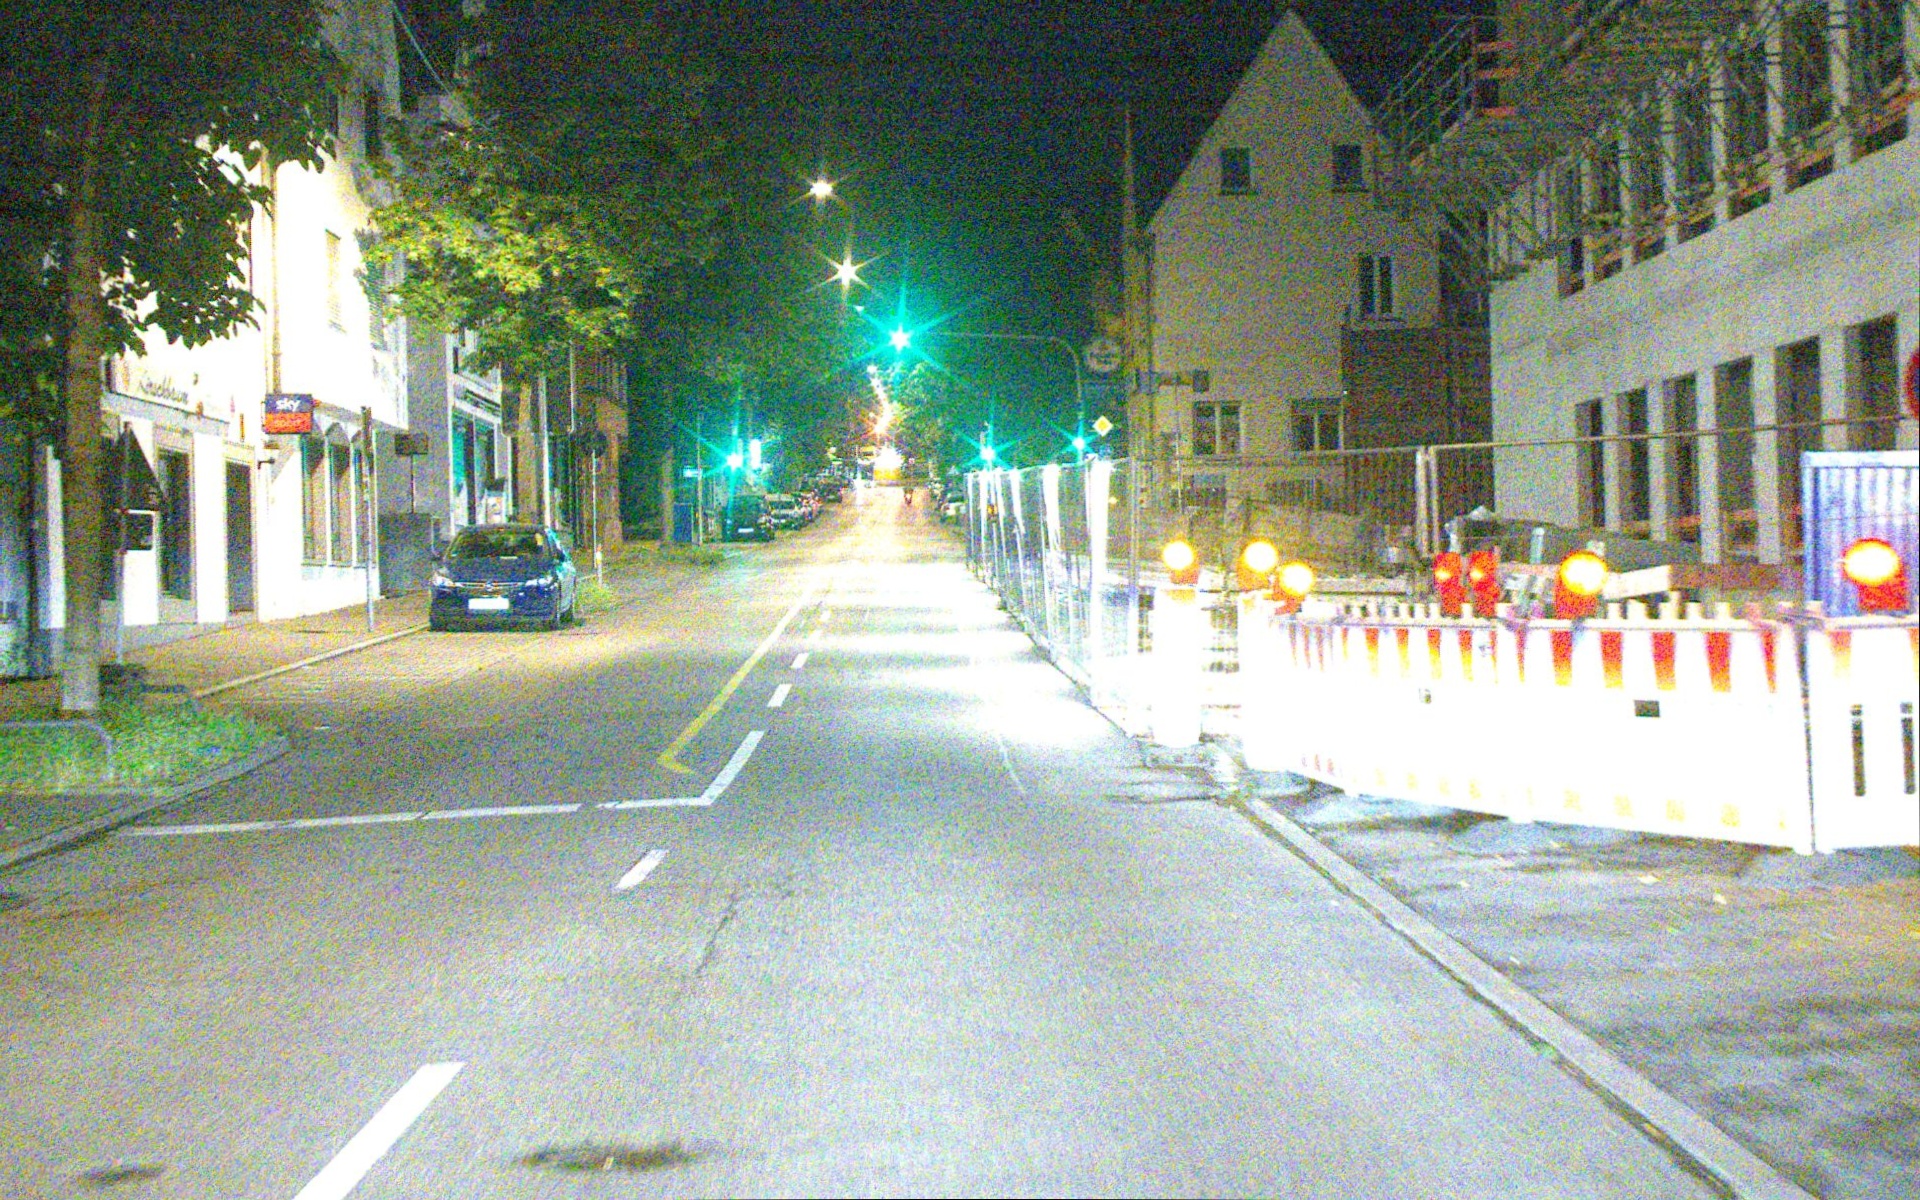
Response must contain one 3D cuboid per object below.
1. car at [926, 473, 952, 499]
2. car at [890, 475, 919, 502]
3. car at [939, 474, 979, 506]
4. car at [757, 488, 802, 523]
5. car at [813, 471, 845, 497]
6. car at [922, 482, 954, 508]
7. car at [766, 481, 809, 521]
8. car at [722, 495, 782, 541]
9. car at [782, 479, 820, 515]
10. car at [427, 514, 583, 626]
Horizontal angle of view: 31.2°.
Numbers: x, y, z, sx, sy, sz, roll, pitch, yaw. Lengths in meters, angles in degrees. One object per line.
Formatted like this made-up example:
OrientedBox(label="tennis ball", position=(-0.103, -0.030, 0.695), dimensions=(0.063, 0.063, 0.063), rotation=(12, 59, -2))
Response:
OrientedBox(label="car", position=(-1.564, -8.573, 258.277), dimensions=(1.873, 1.900, 4.205), rotation=(-1, 2, -1))
OrientedBox(label="car", position=(-3.808, -7.678, 236.040), dimensions=(1.873, 1.808, 4.205), rotation=(-1, 2, 0))
OrientedBox(label="car", position=(-0.080, -5.477, 170.814), dimensions=(1.873, 1.539, 4.205), rotation=(-1, 2, -1))
OrientedBox(label="car", position=(-8.252, -4.326, 157.618), dimensions=(1.873, 1.539, 4.205), rotation=(-1, 2, -1))
OrientedBox(label="car", position=(-9.434, -8.352, 248.156), dimensions=(2.077, 1.808, 4.205), rotation=(-1, 2, 0))
OrientedBox(label="car", position=(-1.343, -6.399, 209.750), dimensions=(1.873, 1.539, 4.205), rotation=(-1, 2, -1))
OrientedBox(label="car", position=(-8.196, -4.738, 163.737), dimensions=(1.873, 1.808, 4.205), rotation=(-1, 2, -1))
OrientedBox(label="car", position=(-7.262, -2.894, 120.384), dimensions=(1.873, 1.539, 4.205), rotation=(-1, 2, -1))
OrientedBox(label="car", position=(-8.417, -5.464, 182.025), dimensions=(1.873, 1.808, 4.205), rotation=(-1, 2, -1))
OrientedBox(label="car", position=(-6.347, -0.460, 48.343), dimensions=(1.671, 1.438, 4.205), rotation=(-1, 2, -1))
